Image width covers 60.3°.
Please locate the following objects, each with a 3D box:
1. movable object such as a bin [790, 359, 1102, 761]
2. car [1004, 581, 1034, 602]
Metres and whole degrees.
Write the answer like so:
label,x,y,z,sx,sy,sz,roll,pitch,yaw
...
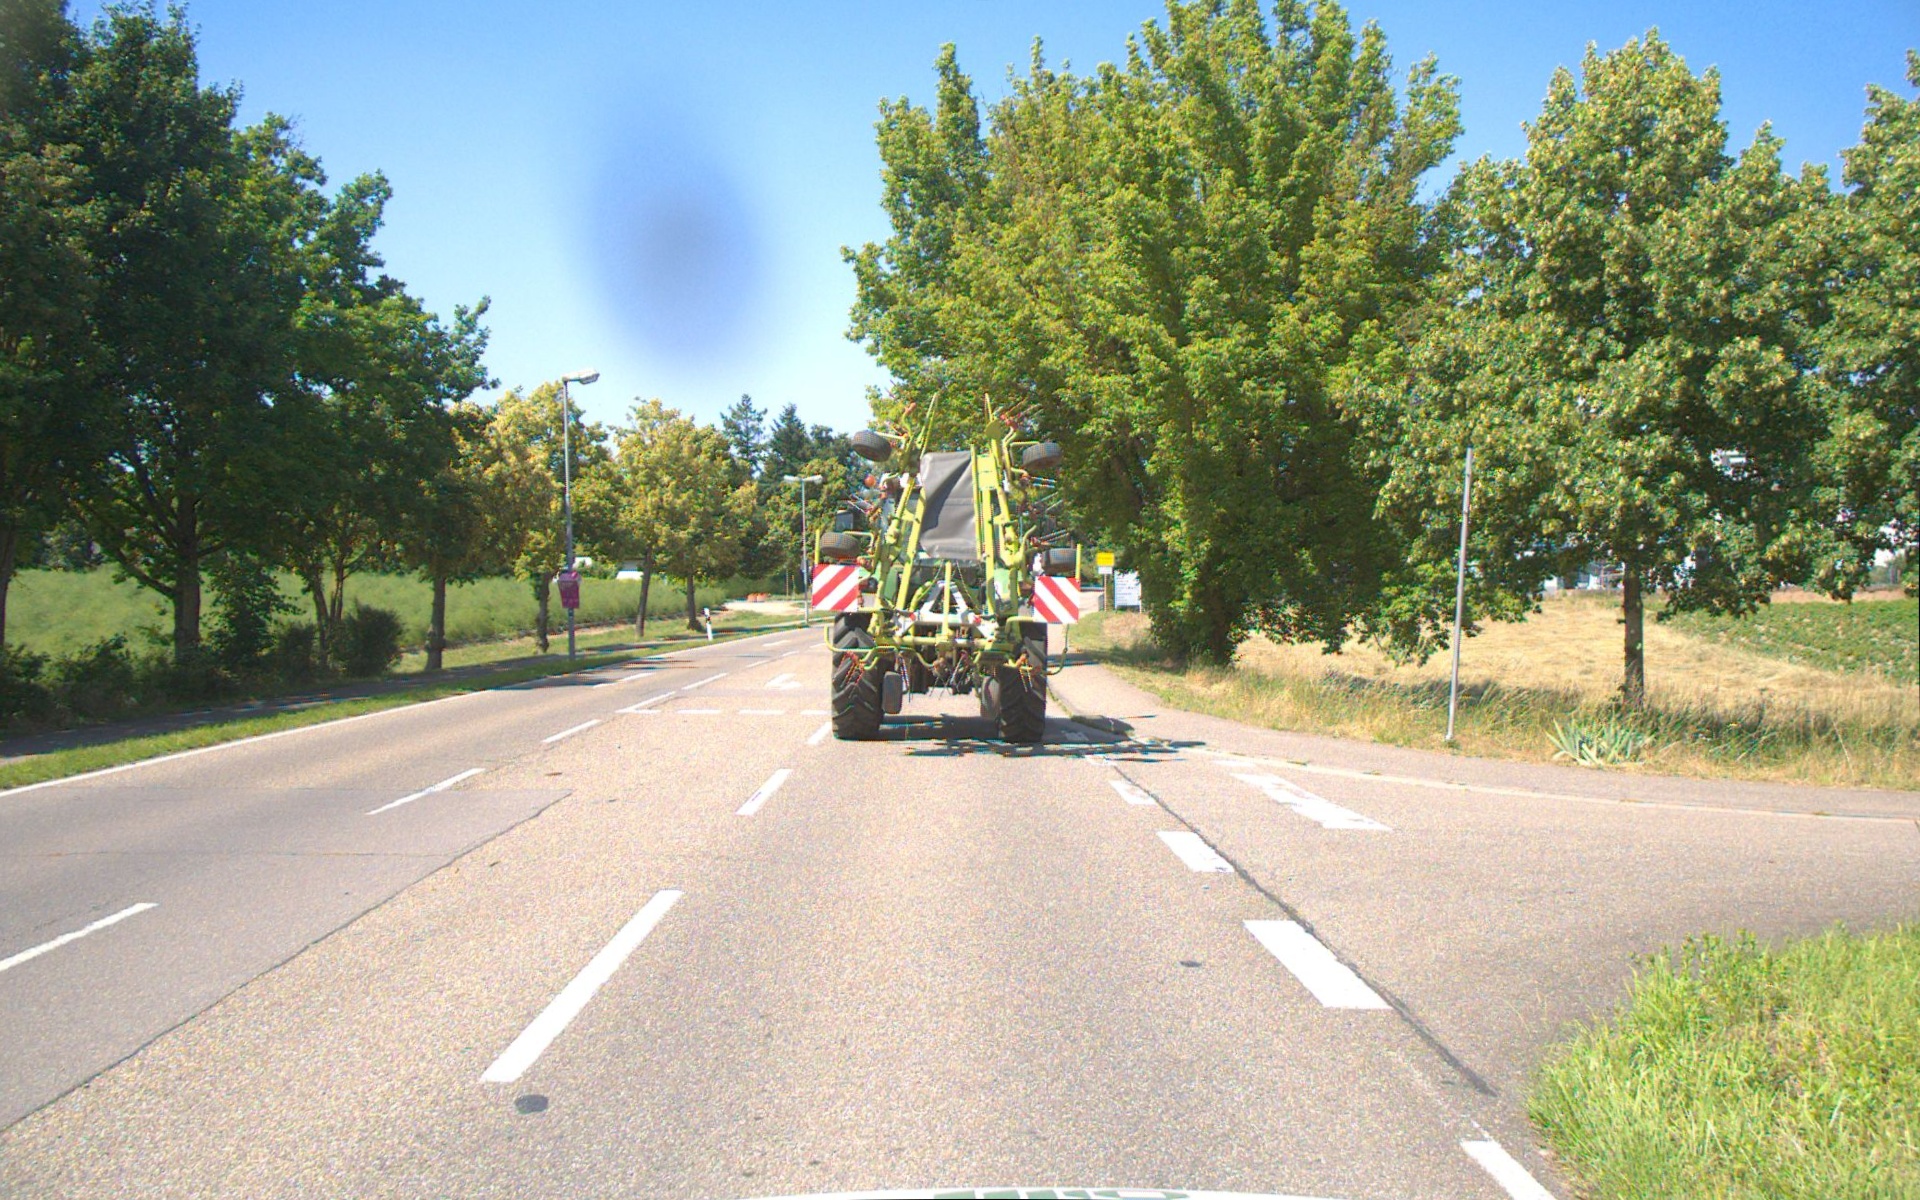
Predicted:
label,x,y,z,sx,sy,sz,roll,pitch,yaw
movable object such as a bin,-0.244,-0.380,19.750,2.795,3.603,9.698,0,0,-1
car,4.327,-0.656,120.932,1.613,1.458,3.900,2,1,9
